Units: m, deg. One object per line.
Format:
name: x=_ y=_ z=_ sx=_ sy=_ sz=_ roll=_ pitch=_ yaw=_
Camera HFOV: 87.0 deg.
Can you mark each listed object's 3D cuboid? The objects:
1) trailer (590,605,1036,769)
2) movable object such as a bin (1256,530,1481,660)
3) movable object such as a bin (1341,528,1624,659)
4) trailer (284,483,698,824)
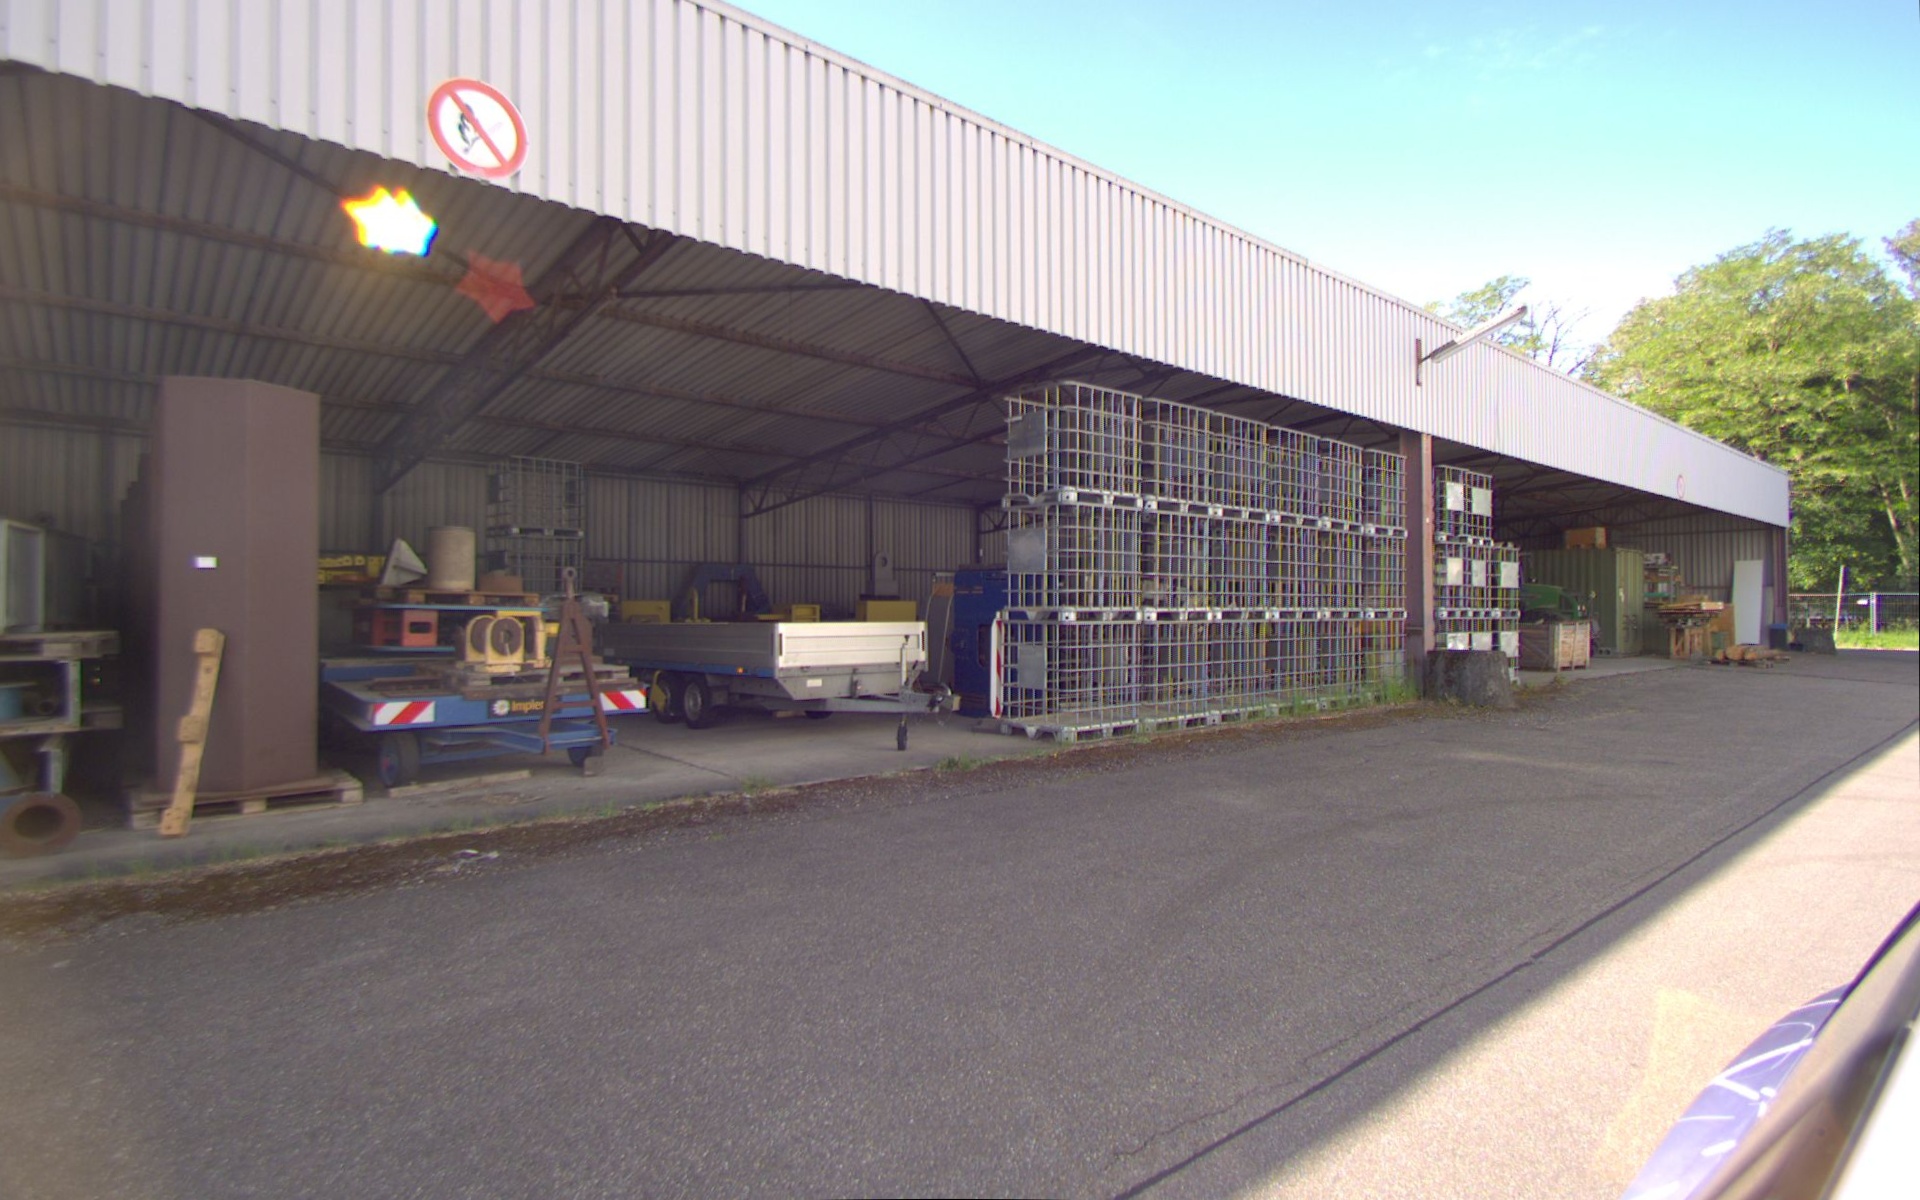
trailer: x=-1.908 y=0.707 z=10.870 sx=1.940 sy=1.200 sz=5.737 roll=0 pitch=1 yaw=-41
movable object such as a bin: x=9.909 y=-0.095 z=24.832 sx=2.453 sy=2.867 sz=4.535 roll=1 pitch=-1 yaw=-40
movable object such as a bin: x=13.194 y=-0.137 z=25.926 sx=2.770 sy=2.962 sz=5.845 roll=0 pitch=0 yaw=-40
trailer: x=-4.104 y=0.282 z=8.391 sx=2.124 sy=2.015 sz=4.433 roll=0 pitch=1 yaw=-39
